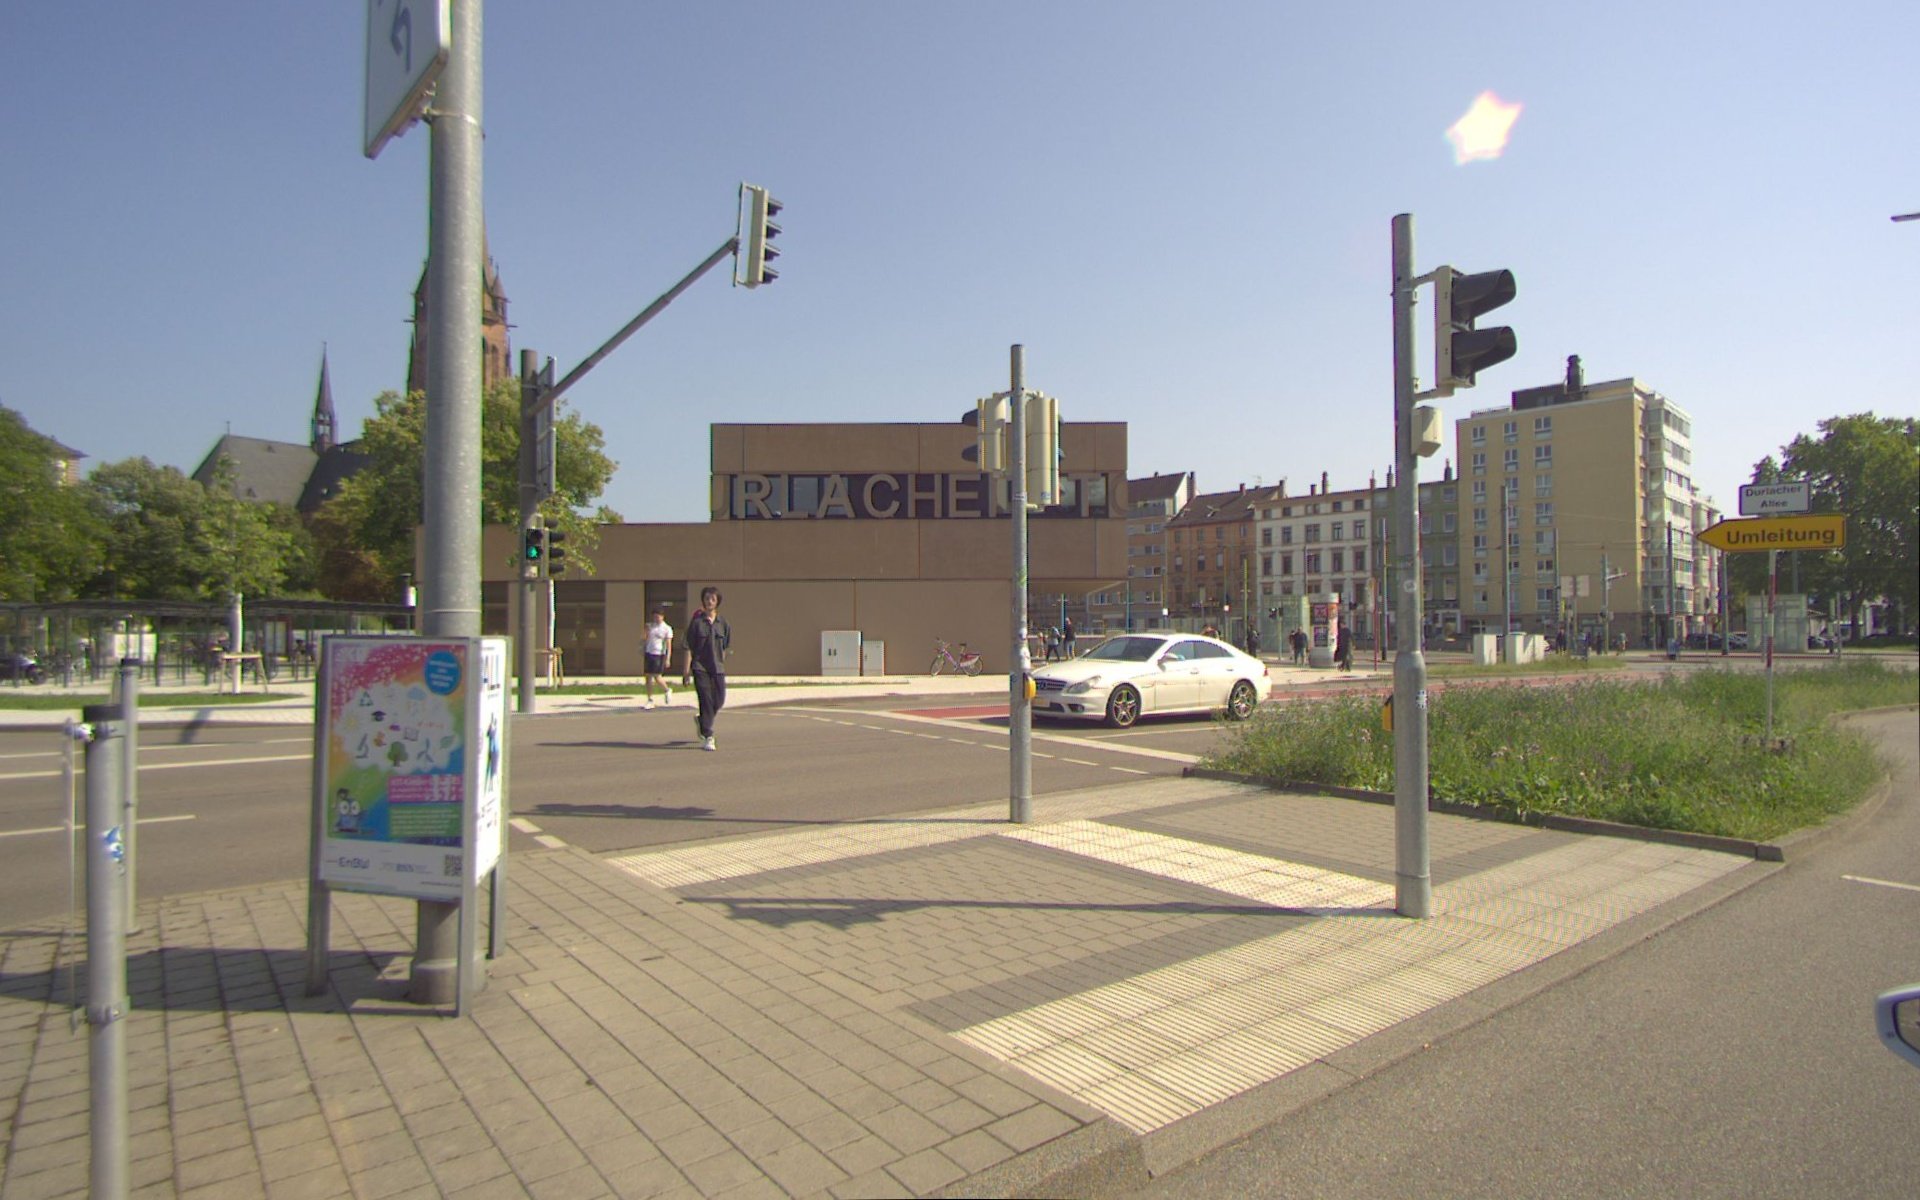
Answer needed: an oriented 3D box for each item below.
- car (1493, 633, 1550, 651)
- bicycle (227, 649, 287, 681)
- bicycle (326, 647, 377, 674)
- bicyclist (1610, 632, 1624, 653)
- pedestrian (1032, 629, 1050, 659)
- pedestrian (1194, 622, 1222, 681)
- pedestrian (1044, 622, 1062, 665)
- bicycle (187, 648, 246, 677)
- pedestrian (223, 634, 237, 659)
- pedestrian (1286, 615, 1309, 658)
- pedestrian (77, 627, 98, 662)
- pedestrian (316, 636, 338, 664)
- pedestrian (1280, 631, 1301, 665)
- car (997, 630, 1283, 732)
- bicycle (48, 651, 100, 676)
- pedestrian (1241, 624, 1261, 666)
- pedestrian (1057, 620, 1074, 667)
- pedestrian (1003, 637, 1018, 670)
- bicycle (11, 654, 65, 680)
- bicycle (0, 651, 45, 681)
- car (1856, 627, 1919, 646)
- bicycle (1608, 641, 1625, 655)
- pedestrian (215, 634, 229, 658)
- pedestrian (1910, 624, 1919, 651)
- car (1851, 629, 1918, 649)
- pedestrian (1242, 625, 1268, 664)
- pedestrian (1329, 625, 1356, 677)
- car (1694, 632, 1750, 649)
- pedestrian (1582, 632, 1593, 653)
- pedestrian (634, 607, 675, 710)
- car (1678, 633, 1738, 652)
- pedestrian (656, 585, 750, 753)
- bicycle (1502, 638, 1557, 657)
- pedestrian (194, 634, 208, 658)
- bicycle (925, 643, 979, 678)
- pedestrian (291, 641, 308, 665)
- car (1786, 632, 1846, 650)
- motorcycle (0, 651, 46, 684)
[{"bbox_3d":[44.830,3.327,80.216,1.575,1.411,3.703,2,-3,-42],"label":"car"},{"bbox_3d":[-23.387,2.156,33.430,1.711,1.022,0.401,0,-2,2],"label":"bicycle"},{"bbox_3d":[-23.367,2.315,38.575,1.711,1.022,0.401,0,-2,2],"label":"bicycle"},{"bbox_3d":[45.810,2.967,70.040,0.718,1.453,0.686,-1,-2,43],"label":"bicyclist"},{"bbox_3d":[4.308,2.345,53.539,0.784,1.612,0.690,0,-2,-13],"label":"pedestrian"},{"bbox_3d":[7.734,1.600,31.349,0.666,1.783,0.878,-1,-2,26],"label":"pedestrian"},{"bbox_3d":[3.793,1.783,41.035,0.596,1.718,0.532,-2,0,-9],"label":"pedestrian"},{"bbox_3d":[-27.573,2.313,37.253,1.838,1.022,0.462,0,-2,2],"label":"bicycle"},{"bbox_3d":[-38.347,2.435,52.745,0.375,1.240,0.440,-2,0,3],"label":"pedestrian"},{"bbox_3d":[14.893,1.625,44.353,0.864,1.843,0.895,-2,0,22],"label":"pedestrian"},{"bbox_3d":[-44.125,2.240,50.795,0.382,1.771,0.715,-2,-2,34],"label":"pedestrian"},{"bbox_3d":[-31.991,2.527,50.769,0.631,1.413,0.662,0,-2,-1],"label":"pedestrian"},{"bbox_3d":[18.217,2.649,55.345,0.773,1.843,0.825,4,-3,-43],"label":"pedestrian"},{"bbox_3d":[3.018,1.241,16.247,4.776,1.379,1.828,3,-2,-38],"label":"car"},{"bbox_3d":[-32.642,2.332,37.013,1.556,0.904,0.410,0,-2,2],"label":"bicycle"},{"bbox_3d":[11.356,1.746,39.177,0.501,1.601,0.495,-2,0,-28],"label":"pedestrian"},{"bbox_3d":[4.185,1.722,39.961,0.548,1.843,0.391,0,-2,-18],"label":"pedestrian"},{"bbox_3d":[1.828,1.921,36.352,0.514,1.187,0.595,0,-2,-1],"label":"pedestrian"},{"bbox_3d":[-32.699,2.368,35.623,1.556,0.904,0.410,0,-2,2],"label":"bicycle"},{"bbox_3d":[-32.620,2.276,34.607,1.679,0.999,0.534,0,-2,2],"label":"bicycle"},{"bbox_3d":[81.149,3.199,87.845,1.798,1.639,3.956,1,-3,-39],"label":"car"},{"bbox_3d":[45.790,3.344,70.014,0.719,0.997,1.722,-1,-2,42],"label":"bicycle"},{"bbox_3d":[-38.822,2.435,52.818,0.375,1.240,0.440,-2,0,3],"label":"pedestrian"},{"bbox_3d":[71.486,2.804,74.911,0.505,2.040,0.815,1,-2,-40],"label":"pedestrian"},{"bbox_3d":[79.285,3.321,86.168,1.798,1.639,3.956,1,-3,-39],"label":"car"},{"bbox_3d":[16.121,2.427,54.919,1.014,2.040,0.949,-2,0,-43],"label":"pedestrian"},{"bbox_3d":[13.702,1.806,36.001,0.831,1.802,0.877,-2,0,18],"label":"pedestrian"},{"bbox_3d":[71.204,3.774,93.914,1.856,1.578,3.949,2,-3,-43],"label":"car"},{"bbox_3d":[45.061,3.054,72.168,0.488,1.507,0.440,-2,0,8],"label":"pedestrian"},{"bbox_3d":[-5.641,1.071,18.532,0.564,1.857,0.689,1,-2,-31],"label":"pedestrian"},{"bbox_3d":[66.115,3.733,88.830,1.855,1.578,3.951,-2,0,-42],"label":"car"},{"bbox_3d":[-3.030,0.776,11.794,0.722,1.864,1.072,1,-1,-34],"label":"pedestrian"},{"bbox_3d":[49.446,4.087,87.221,1.188,1.572,3.948,-2,0,-44],"label":"bicycle"},{"bbox_3d":[-39.356,2.394,52.095,0.375,1.240,0.440,-2,0,3],"label":"pedestrian"},{"bbox_3d":[-0.227,1.772,29.528,1.581,0.968,0.661,0,0,0],"label":"bicycle"},{"bbox_3d":[-33.542,2.706,51.006,0.563,1.213,0.468,-1,-2,3],"label":"pedestrian"},{"bbox_3d":[76.596,3.659,89.881,1.716,1.578,3.949,2,-3,-43],"label":"car"},{"bbox_3d":[-29.268,2.080,30.965,1.711,1.022,0.543,0,-2,2],"label":"motorcycle"}]
